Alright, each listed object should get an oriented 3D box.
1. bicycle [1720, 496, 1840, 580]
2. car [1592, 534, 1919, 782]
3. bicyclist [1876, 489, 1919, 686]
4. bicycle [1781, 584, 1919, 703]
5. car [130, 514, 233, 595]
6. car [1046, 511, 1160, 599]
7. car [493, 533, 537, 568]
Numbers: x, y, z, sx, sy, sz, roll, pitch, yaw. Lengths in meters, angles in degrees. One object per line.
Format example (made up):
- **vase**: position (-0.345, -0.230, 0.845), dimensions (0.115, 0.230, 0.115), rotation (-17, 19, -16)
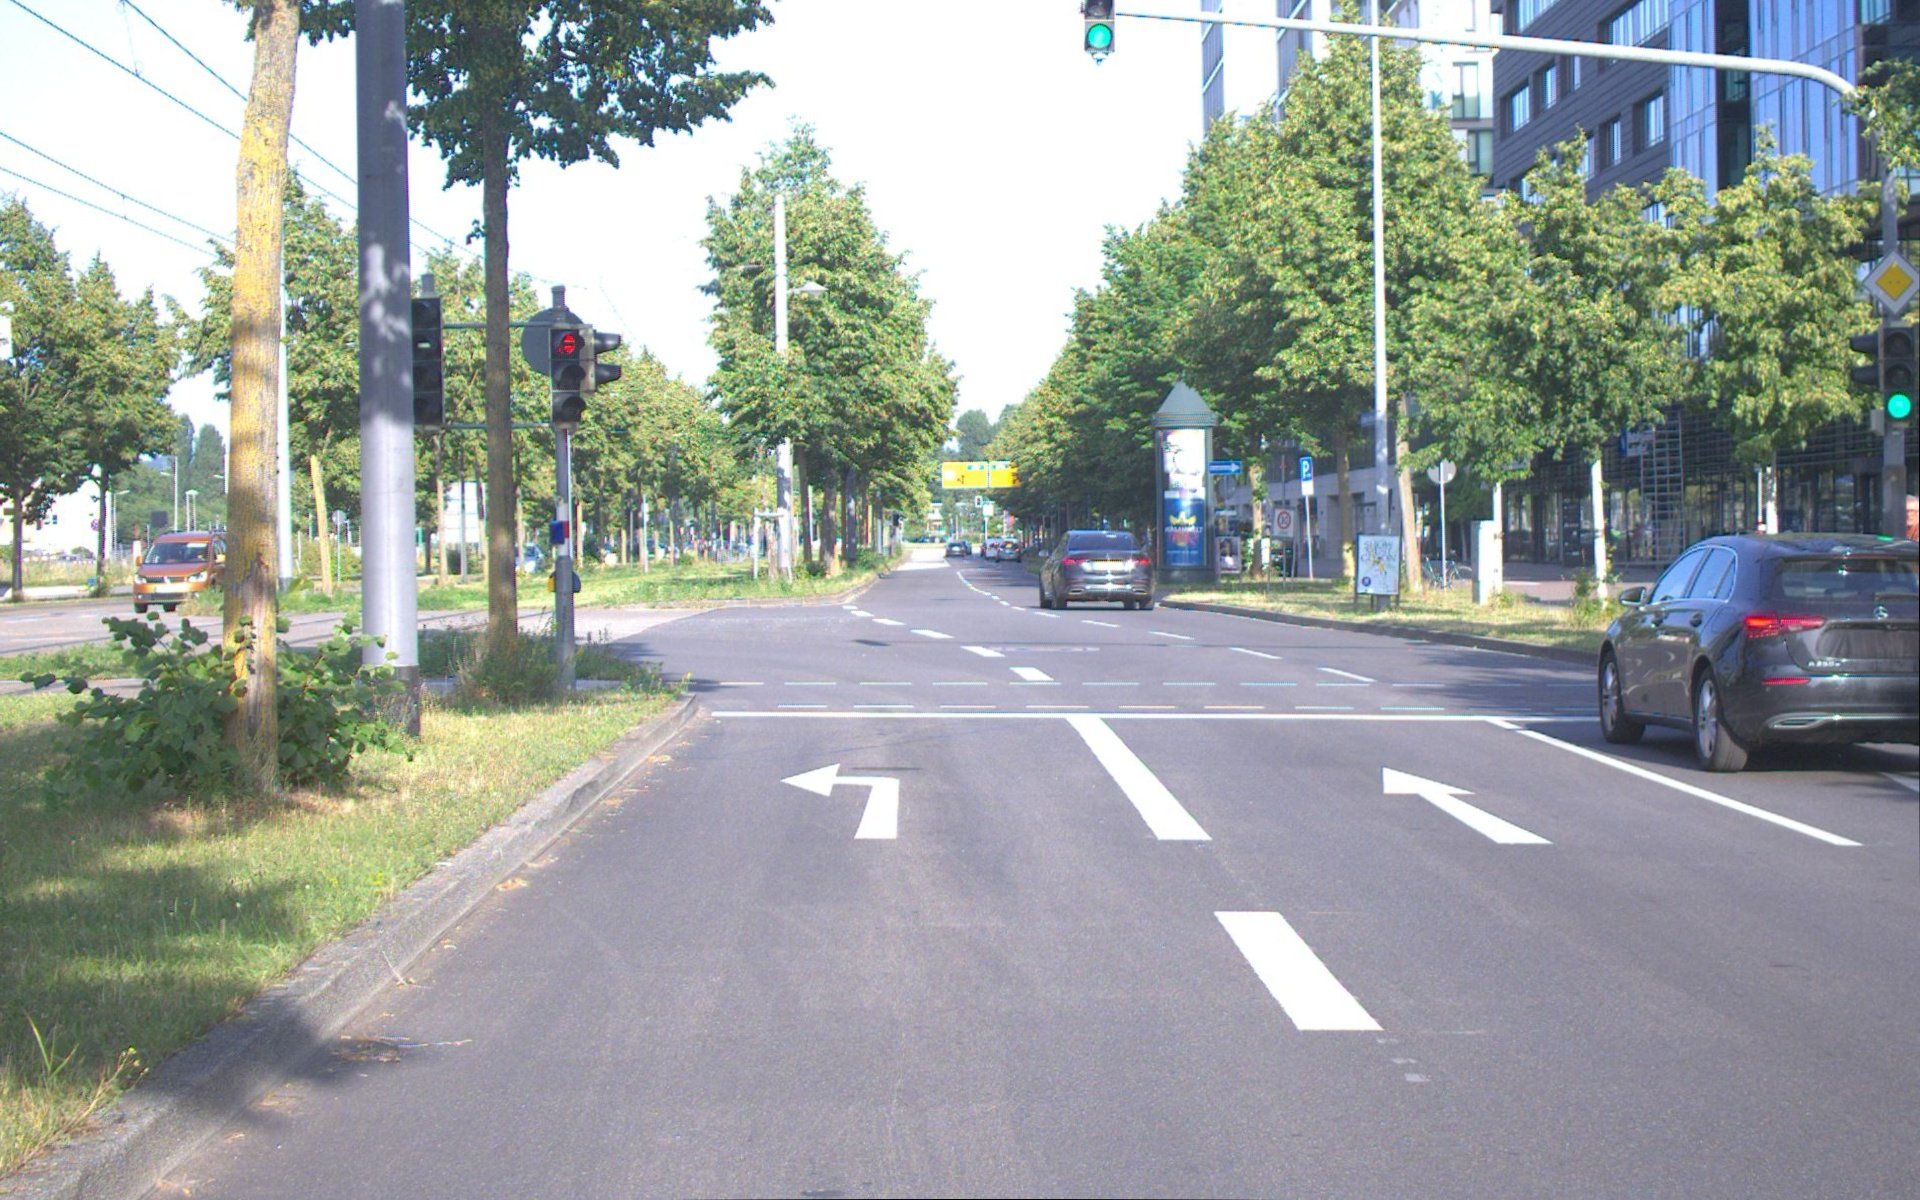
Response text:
- **bicycle**: position (18.511, -1.393, 77.677), dimensions (2.565, 1.851, 0.569), rotation (1, 1, 9)
- **car**: position (5.296, 0.317, 21.927), dimensions (1.774, 1.419, 3.961), rotation (1, 1, 0)
- **bicyclist**: position (8.390, -0.111, 30.040), dimensions (0.574, 1.701, 0.541), rotation (1, 1, -3)
- **bicycle**: position (8.330, 0.388, 30.072), dimensions (2.134, 1.009, 0.571), rotation (1, 1, -4)
- **car**: position (-17.625, -1.035, 77.950), dimensions (1.684, 1.769, 3.883), rotation (1, 1, -4)
- **car**: position (2.558, -0.811, 62.240), dimensions (1.859, 1.519, 3.786), rotation (1, 1, 0)
- **car**: position (-19.074, -2.125, 147.351), dimensions (1.638, 1.438, 3.957), rotation (1, 1, -4)
